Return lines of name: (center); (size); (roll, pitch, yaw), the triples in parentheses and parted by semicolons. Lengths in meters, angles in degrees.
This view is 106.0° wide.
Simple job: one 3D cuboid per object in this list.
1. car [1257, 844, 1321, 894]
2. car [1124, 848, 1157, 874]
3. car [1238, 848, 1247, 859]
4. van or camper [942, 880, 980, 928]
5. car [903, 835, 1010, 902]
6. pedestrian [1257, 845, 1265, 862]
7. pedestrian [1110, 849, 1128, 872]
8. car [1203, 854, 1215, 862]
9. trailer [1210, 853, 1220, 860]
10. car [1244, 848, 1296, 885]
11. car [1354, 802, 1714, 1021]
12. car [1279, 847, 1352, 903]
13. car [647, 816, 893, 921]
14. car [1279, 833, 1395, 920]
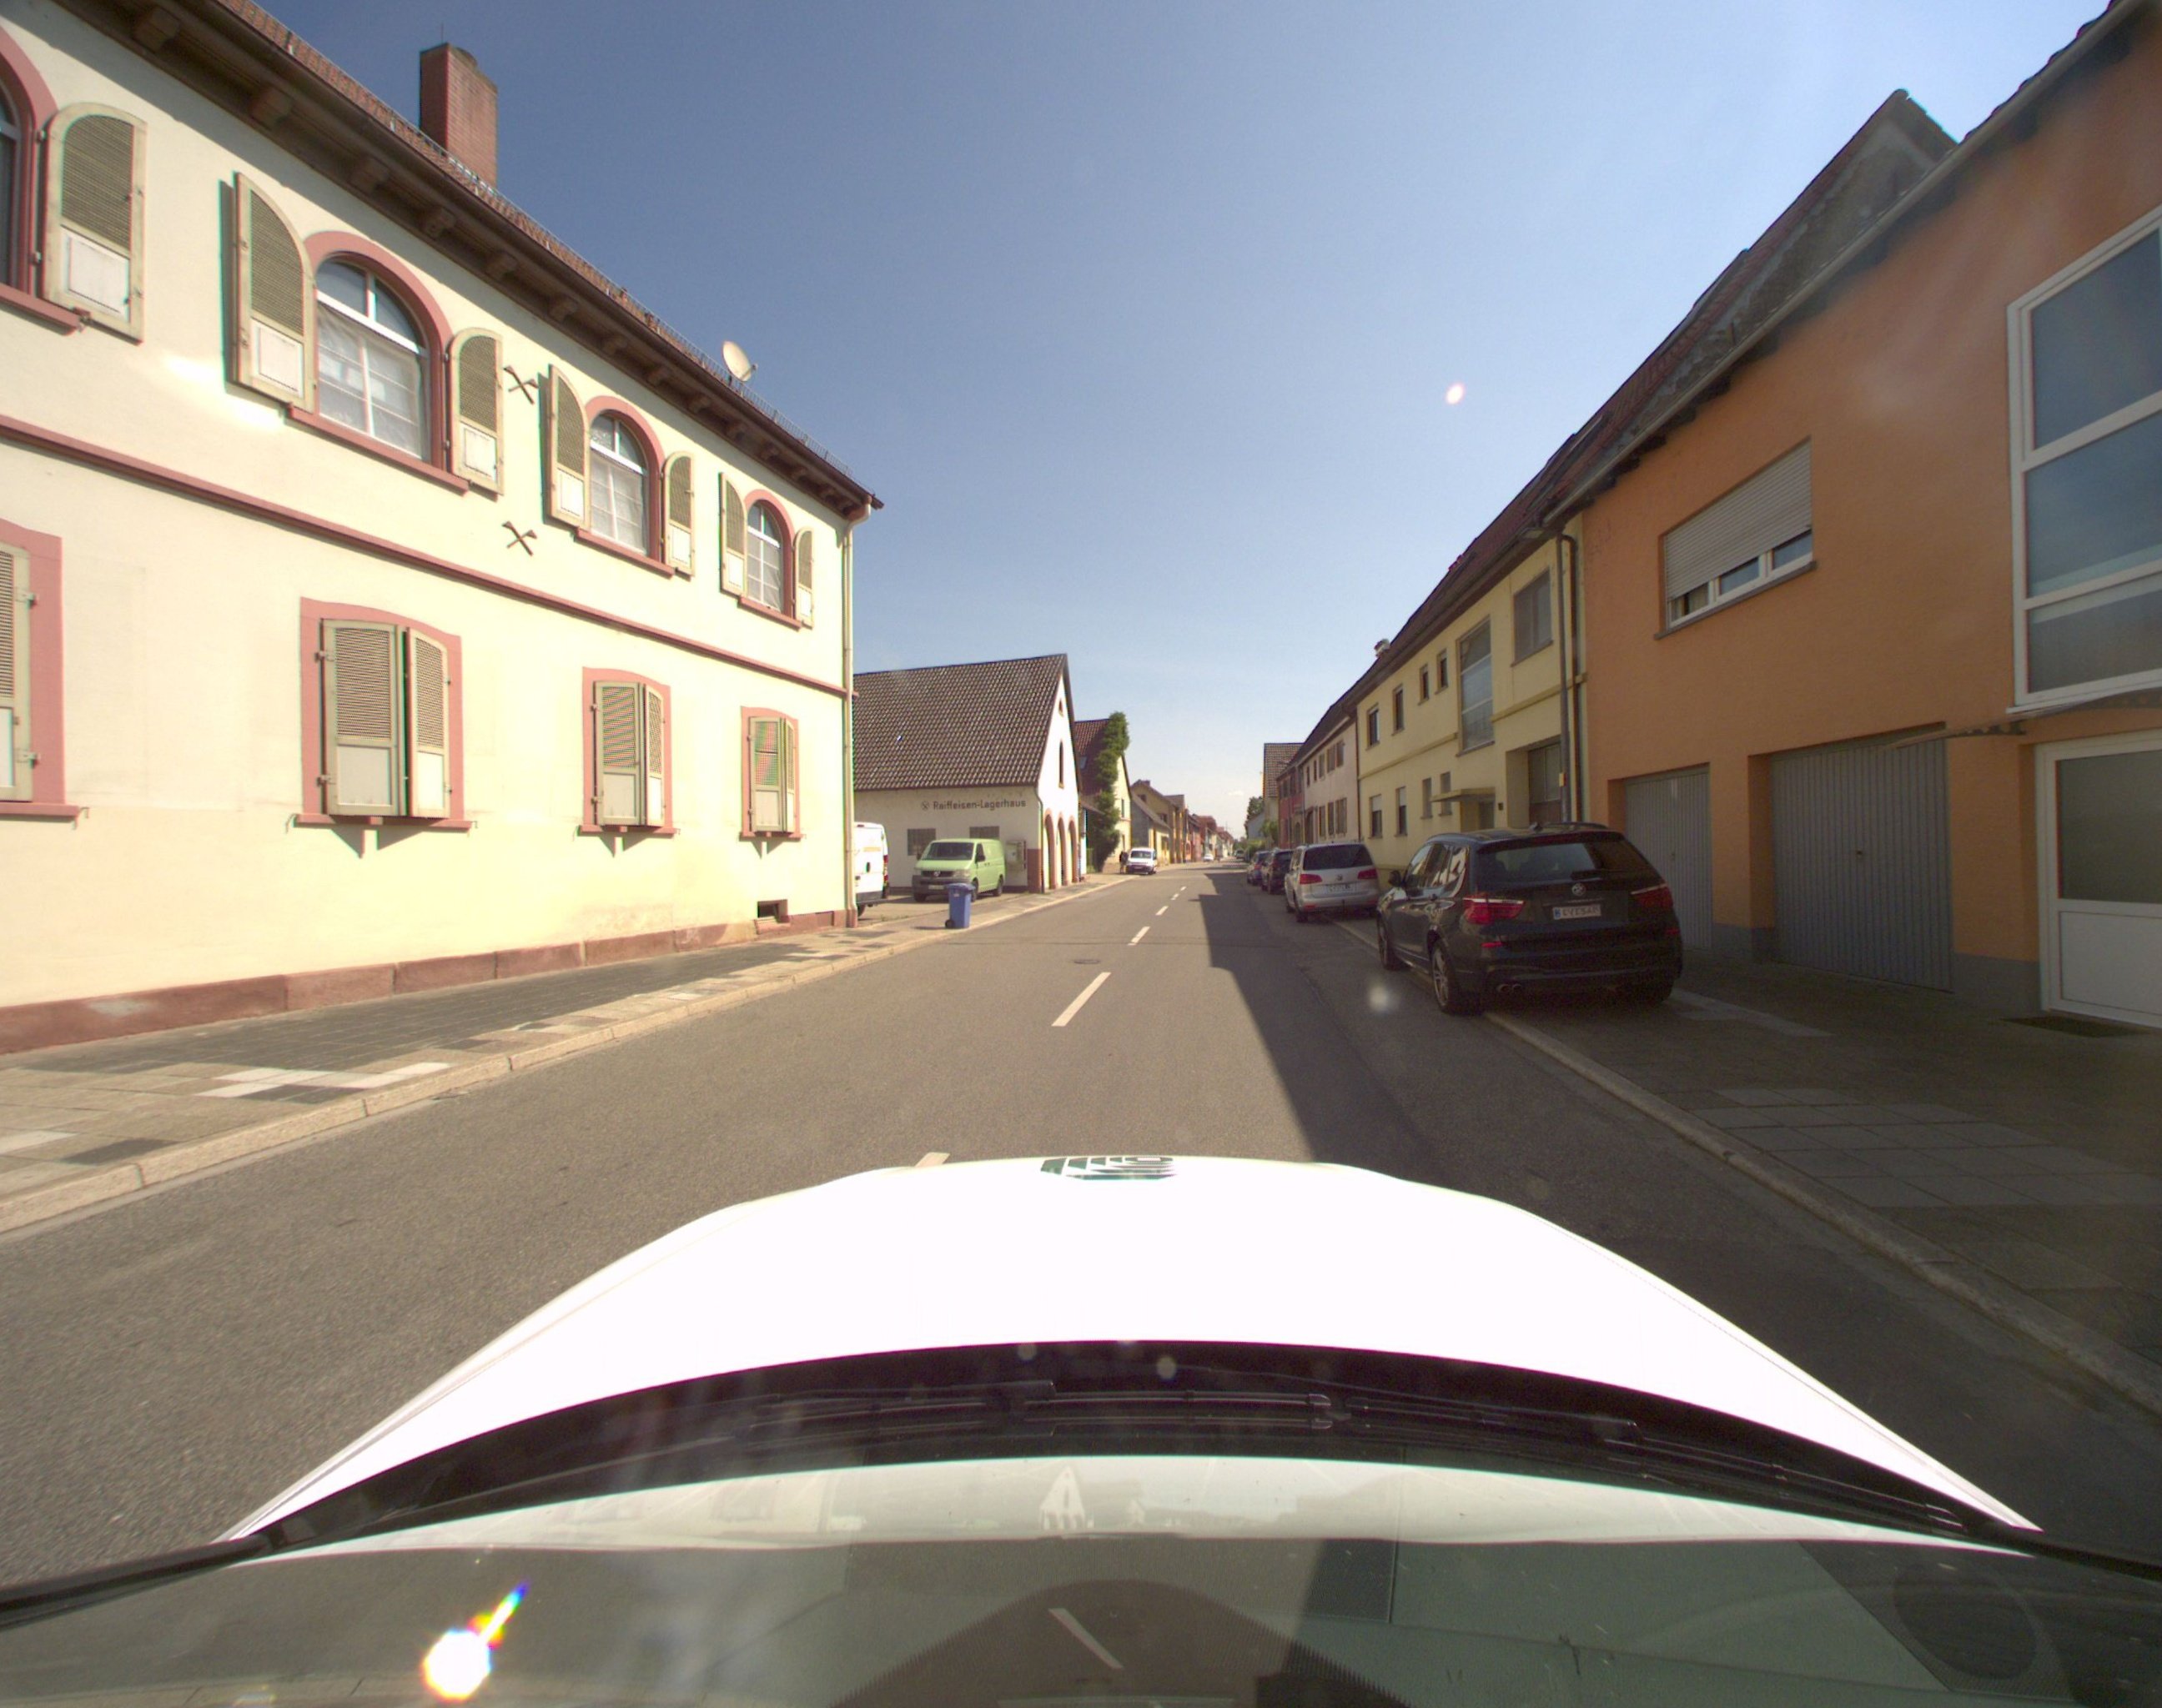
car: (7.236, 0.479, 28.708); (1.689, 1.584, 4.036); (-2, 0, 8)
car: (4.035, 0.441, 54.878); (1.844, 1.647, 4.440); (-1, 0, 8)
car: (38.753, -0.003, 195.628); (2.005, 2.568, 4.011); (-1, 0, 10)
van or camper: (-2.505, 1.035, 17.061); (0.585, 0.951, 0.602); (-1, 0, 14)
car: (-3.918, 0.428, 26.492); (1.981, 1.964, 4.682); (-1, 0, 10)
pedestrian: (17.782, -0.053, 80.350); (0.714, 1.664, 0.896); (-1, 0, 14)
pedestrian: (2.571, 0.416, 55.481); (1.130, 1.552, 1.019); (0, 0, 7)
car: (23.194, 0.743, 147.907); (1.981, 1.442, 4.012); (-1, 0, 11)
trailer: (27.039, 0.500, 164.204); (1.981, 1.090, 4.011); (-1, 1, 9)
car: (8.132, 0.507, 35.375); (1.689, 1.469, 4.419); (-2, 0, 7)
car: (4.425, 0.461, 9.030); (1.833, 1.702, 5.194); (-2, 0, 10)
car: (6.685, 0.558, 23.524); (1.541, 1.438, 3.730); (-2, 0, 9)
car: (-7.184, 0.309, 18.892); (5.133, 2.196, 2.133); (0, 0, 19)
car: (5.589, 0.446, 18.265); (1.887, 1.728, 4.260); (0, 0, 9)
